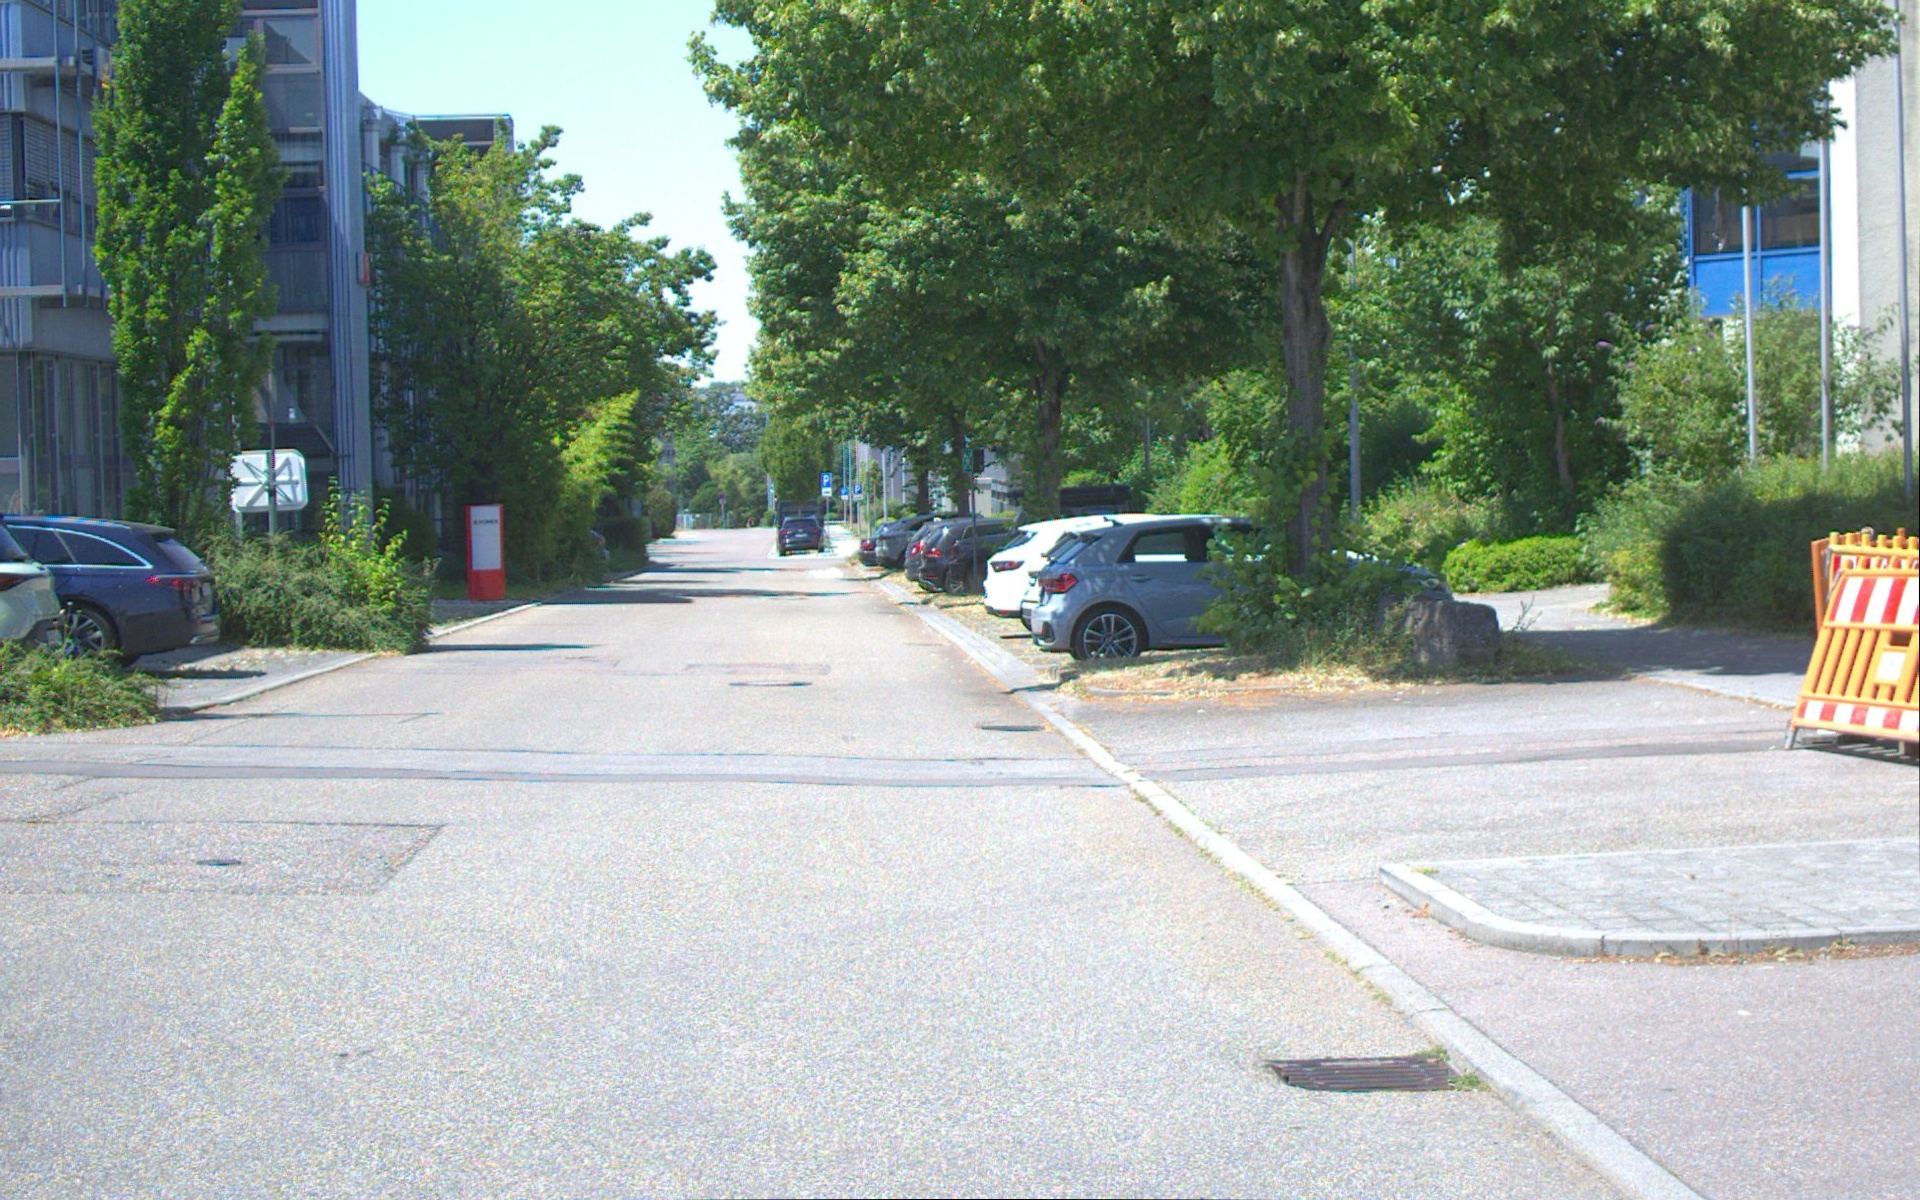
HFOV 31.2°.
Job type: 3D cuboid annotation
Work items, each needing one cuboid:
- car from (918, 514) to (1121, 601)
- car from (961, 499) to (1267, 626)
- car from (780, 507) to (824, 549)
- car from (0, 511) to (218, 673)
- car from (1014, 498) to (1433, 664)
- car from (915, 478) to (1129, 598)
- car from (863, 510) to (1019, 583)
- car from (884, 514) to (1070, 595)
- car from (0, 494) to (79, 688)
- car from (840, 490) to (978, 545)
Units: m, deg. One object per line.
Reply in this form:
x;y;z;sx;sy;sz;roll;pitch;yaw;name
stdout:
1.108;-0.807;64.998;3.721;1.621;1.814;0;1;-3;car
1.878;-0.472;42.580;3.516;1.350;1.538;-3;1;-7;car
-6.579;-3.001;143.488;1.761;1.749;3.945;0;1;-2;car
-8.508;-0.082;32.019;3.057;1.473;1.293;0;1;-9;car
2.486;-0.196;32.894;3.678;1.350;1.646;-3;1;-7;car
1.089;-1.114;61.675;3.721;2.103;1.814;0;1;-3;car
-0.522;-1.442;92.438;3.930;1.828;1.768;-1;5;-10;car
0.325;-0.939;70.258;3.721;1.621;1.814;0;1;-3;car
-9.191;-0.079;27.245;4.045;1.489;1.729;0;1;-5;car
-1.561;-2.514;104.473;3.930;1.572;1.768;-1;5;-10;car
